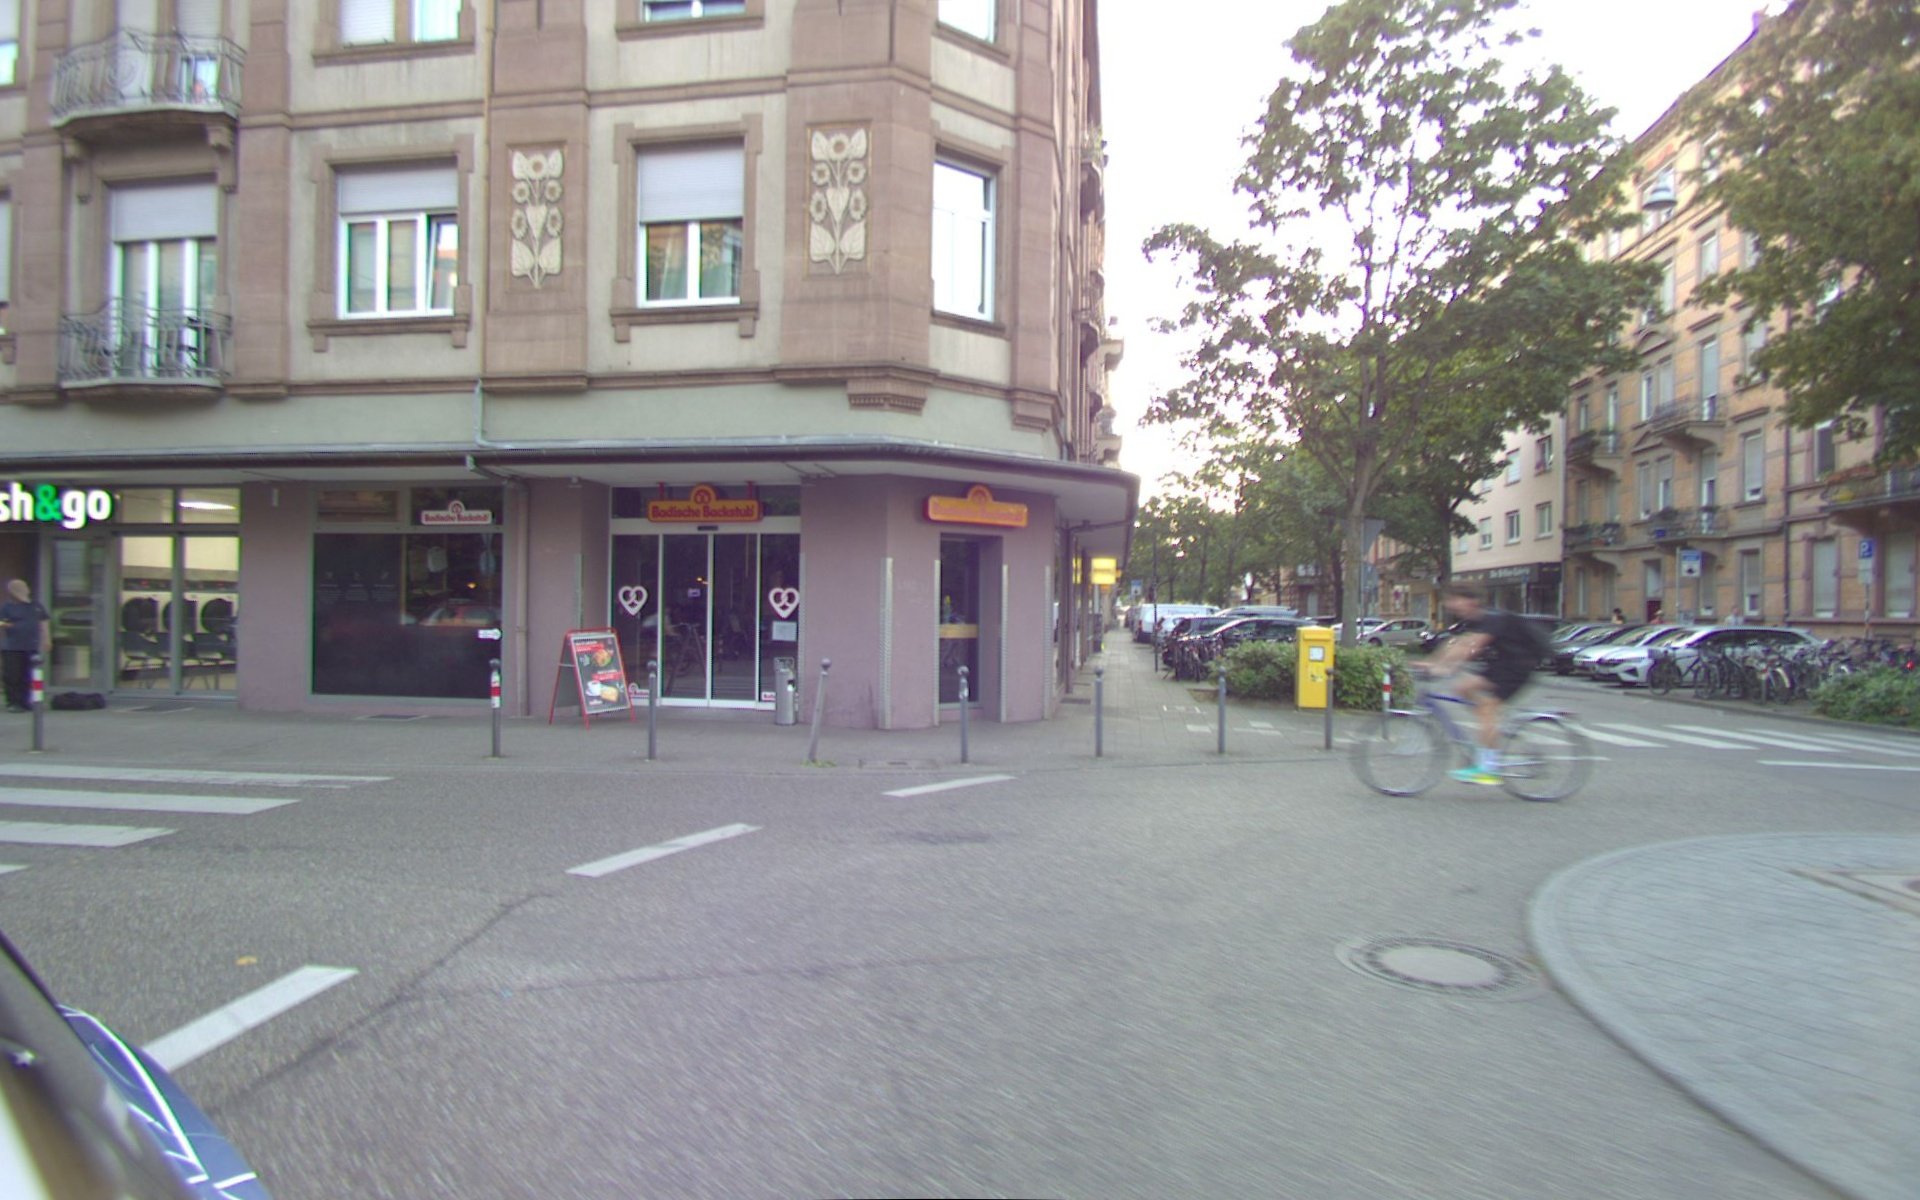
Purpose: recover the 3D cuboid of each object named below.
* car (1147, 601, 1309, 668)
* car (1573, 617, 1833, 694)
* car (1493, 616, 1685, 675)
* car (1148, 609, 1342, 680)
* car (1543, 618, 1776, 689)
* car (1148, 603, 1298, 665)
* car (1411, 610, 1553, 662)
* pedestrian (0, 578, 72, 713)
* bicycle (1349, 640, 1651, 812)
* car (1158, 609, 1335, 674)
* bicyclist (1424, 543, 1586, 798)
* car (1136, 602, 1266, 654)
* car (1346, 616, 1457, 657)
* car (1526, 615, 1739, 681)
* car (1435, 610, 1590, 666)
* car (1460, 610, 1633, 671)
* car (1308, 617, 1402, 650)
[{"bbox_3d":[7.992,0.996,30.574,4.444,1.844,1.995,1,1,8],"label":"car"},{"bbox_3d":[17.285,1.252,23.781,4.444,1.590,1.995,1,1,8],"label":"car"},{"bbox_3d":[18.929,1.338,30.645,4.444,1.590,1.995,1,1,8],"label":"car"},{"bbox_3d":[7.080,1.074,25.564,4.444,1.590,1.995,1,1,8],"label":"car"},{"bbox_3d":[17.877,1.330,26.079,4.444,1.590,1.995,1,1,8],"label":"car"},{"bbox_3d":[8.417,1.057,32.799,4.444,1.844,1.995,1,1,8],"label":"car"},{"bbox_3d":[20.222,1.367,39.407,4.444,1.812,1.995,1,1,8],"label":"car"},{"bbox_3d":[-12.120,0.560,13.050,0.727,1.690,0.709,0,0,9],"label":"pedestrian"},{"bbox_3d":[4.204,0.953,8.039,1.914,1.180,0.838,1,1,10],"label":"bicycle"},{"bbox_3d":[7.802,1.097,27.992,4.444,1.590,1.995,1,1,8],"label":"car"},{"bbox_3d":[4.280,0.516,8.022,0.869,1.890,0.838,1,0,11],"label":"bicyclist"},{"bbox_3d":[9.797,1.116,41.485,4.947,1.966,1.995,1,1,8],"label":"car"},{"bbox_3d":[21.161,1.735,48.631,4.444,1.812,1.995,1,1,8],"label":"car"},{"bbox_3d":[18.558,1.296,28.144,4.444,1.632,1.995,1,1,8],"label":"car"},{"bbox_3d":[19.898,1.346,36.634,4.444,1.812,1.995,1,1,8],"label":"car"},{"bbox_3d":[19.183,1.280,33.304,4.444,1.812,1.995,1,1,8],"label":"car"},{"bbox_3d":[21.778,1.815,56.006,4.444,1.627,1.995,1,1,8],"label":"car"}]
